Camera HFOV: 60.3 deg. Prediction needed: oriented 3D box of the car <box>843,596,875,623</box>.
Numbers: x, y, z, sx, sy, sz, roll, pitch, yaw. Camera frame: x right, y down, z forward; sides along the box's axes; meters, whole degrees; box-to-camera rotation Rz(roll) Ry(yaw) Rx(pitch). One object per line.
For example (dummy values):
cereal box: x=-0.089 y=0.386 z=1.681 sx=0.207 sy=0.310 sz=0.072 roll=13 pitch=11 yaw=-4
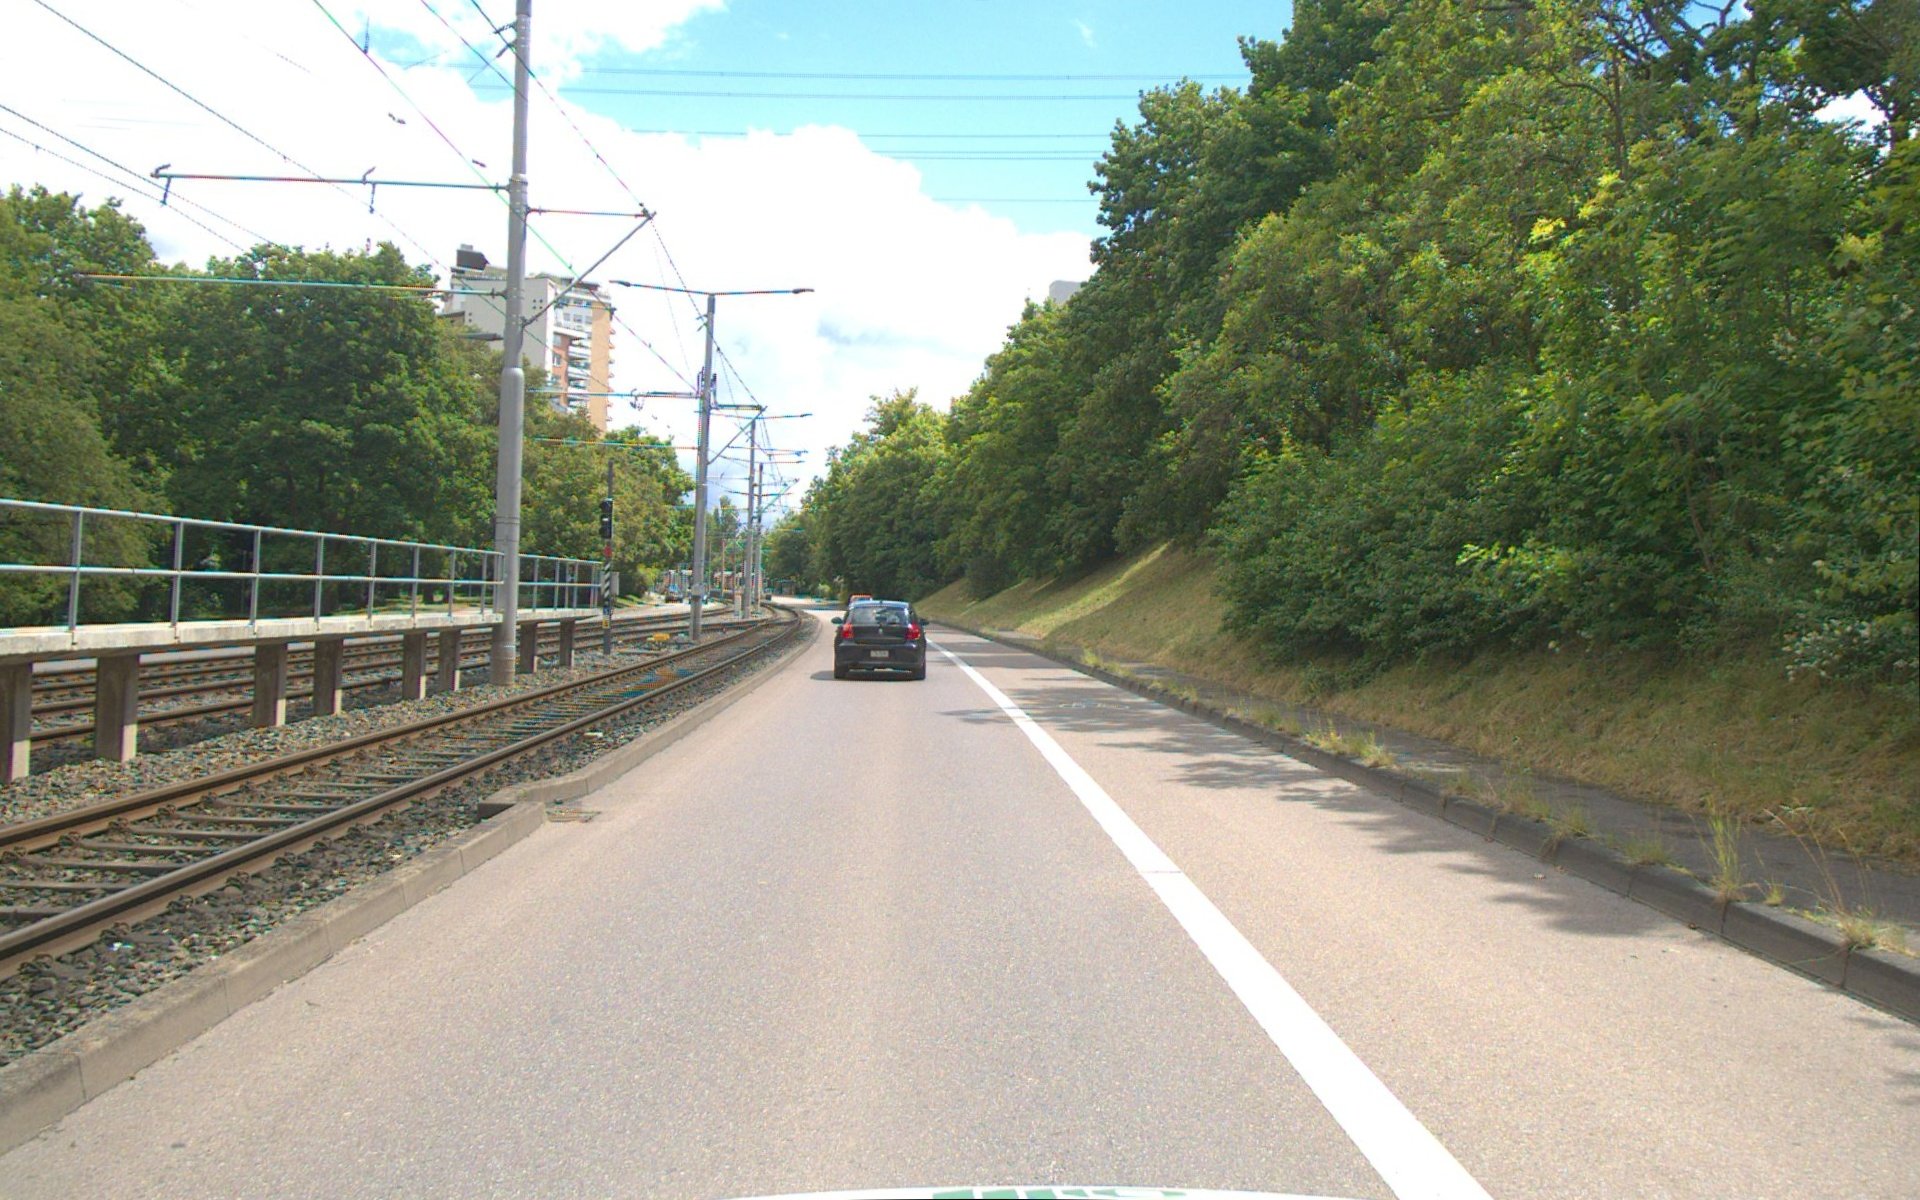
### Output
car: x=-5.892 y=0.539 z=95.982 sx=1.746 sy=1.485 sz=3.917 roll=1 pitch=0 yaw=-5

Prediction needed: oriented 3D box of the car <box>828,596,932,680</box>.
car: x=-1.571 y=0.674 z=31.353 sx=1.747 sy=1.485 sz=3.916 roll=0 pitch=0 yaw=-6

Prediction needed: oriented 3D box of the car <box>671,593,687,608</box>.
car: x=-30.627 y=0.047 z=180.231 sx=1.742 sy=1.525 sz=3.987 roll=1 pitch=0 yaw=-10
